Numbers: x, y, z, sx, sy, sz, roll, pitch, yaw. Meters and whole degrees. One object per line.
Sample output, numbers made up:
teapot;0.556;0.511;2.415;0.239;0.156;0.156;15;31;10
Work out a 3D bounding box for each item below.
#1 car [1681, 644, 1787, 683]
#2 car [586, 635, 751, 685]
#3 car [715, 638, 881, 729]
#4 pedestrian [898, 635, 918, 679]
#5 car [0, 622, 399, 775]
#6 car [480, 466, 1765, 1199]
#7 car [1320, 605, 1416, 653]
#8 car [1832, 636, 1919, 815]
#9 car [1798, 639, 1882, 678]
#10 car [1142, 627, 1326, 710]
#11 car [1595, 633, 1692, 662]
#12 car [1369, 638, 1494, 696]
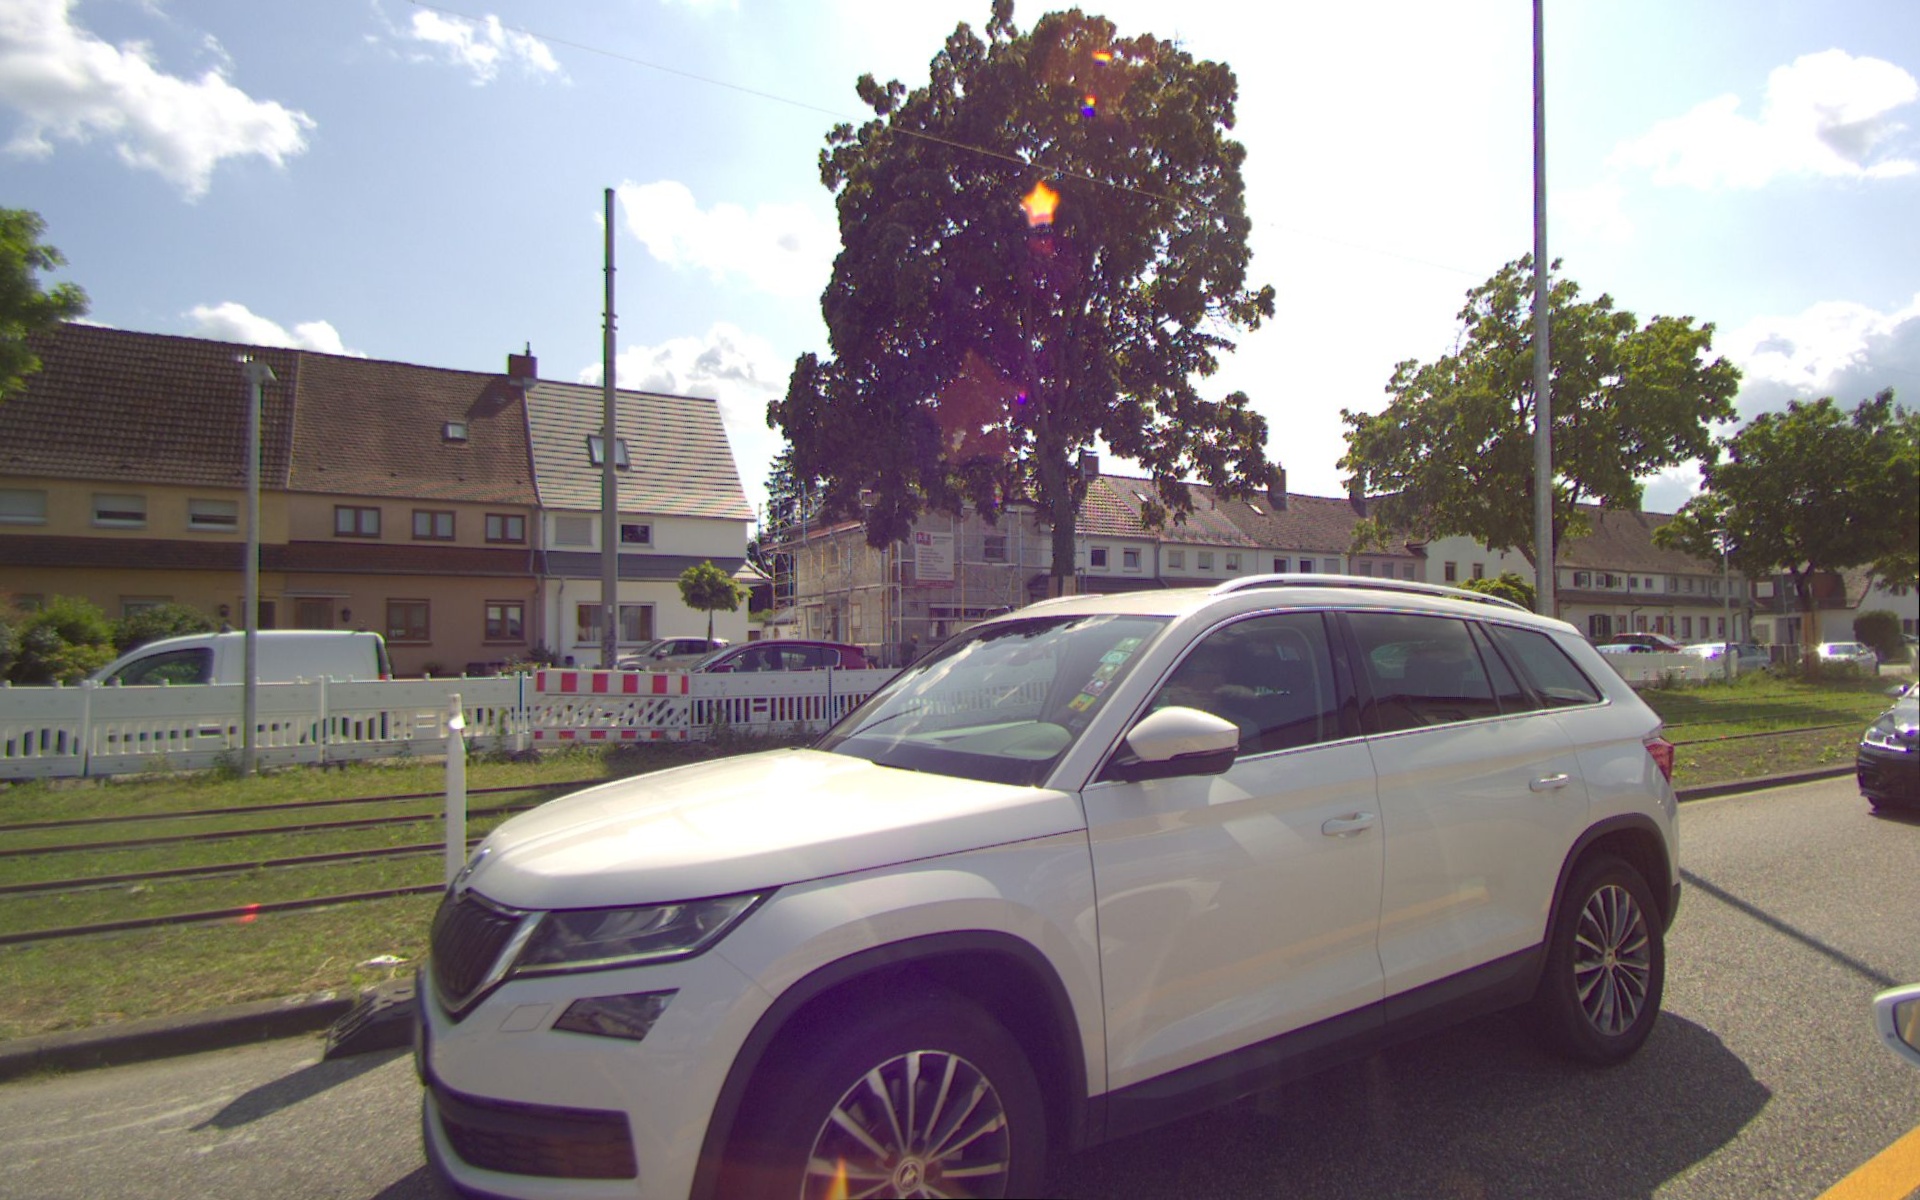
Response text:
car;25.519;2.069;33.102;3.704;1.192;1.496;1;-3;-31
car;-7.888;1.628;27.326;4.073;1.291;1.527;2;-4;-31
car;-2.584;1.304;16.078;2.417;1.365;1.069;1;-4;-27
pedestrian;-1.661;1.809;32.033;0.465;1.394;0.420;2;-1;-31
car;-9.232;1.152;12.436;3.954;1.647;1.645;2;-4;-31
car;0.801;0.724;3.613;4.411;1.687;1.816;2;-4;-31
car;18.167;1.311;44.738;3.954;2.040;1.983;2;-1;-31
car;9.486;1.034;8.772;3.816;1.431;1.684;2;-5;-31
car;34.009;2.248;38.790;4.211;1.394;1.530;1;-4;-36
car;5.968;1.469;21.795;3.854;1.673;1.615;2;-4;-31
car;36.619;2.540;53.895;1.706;1.529;3.967;1;-3;-31
car;11.949;1.679;25.417;3.078;1.395;1.344;2;-4;-31
